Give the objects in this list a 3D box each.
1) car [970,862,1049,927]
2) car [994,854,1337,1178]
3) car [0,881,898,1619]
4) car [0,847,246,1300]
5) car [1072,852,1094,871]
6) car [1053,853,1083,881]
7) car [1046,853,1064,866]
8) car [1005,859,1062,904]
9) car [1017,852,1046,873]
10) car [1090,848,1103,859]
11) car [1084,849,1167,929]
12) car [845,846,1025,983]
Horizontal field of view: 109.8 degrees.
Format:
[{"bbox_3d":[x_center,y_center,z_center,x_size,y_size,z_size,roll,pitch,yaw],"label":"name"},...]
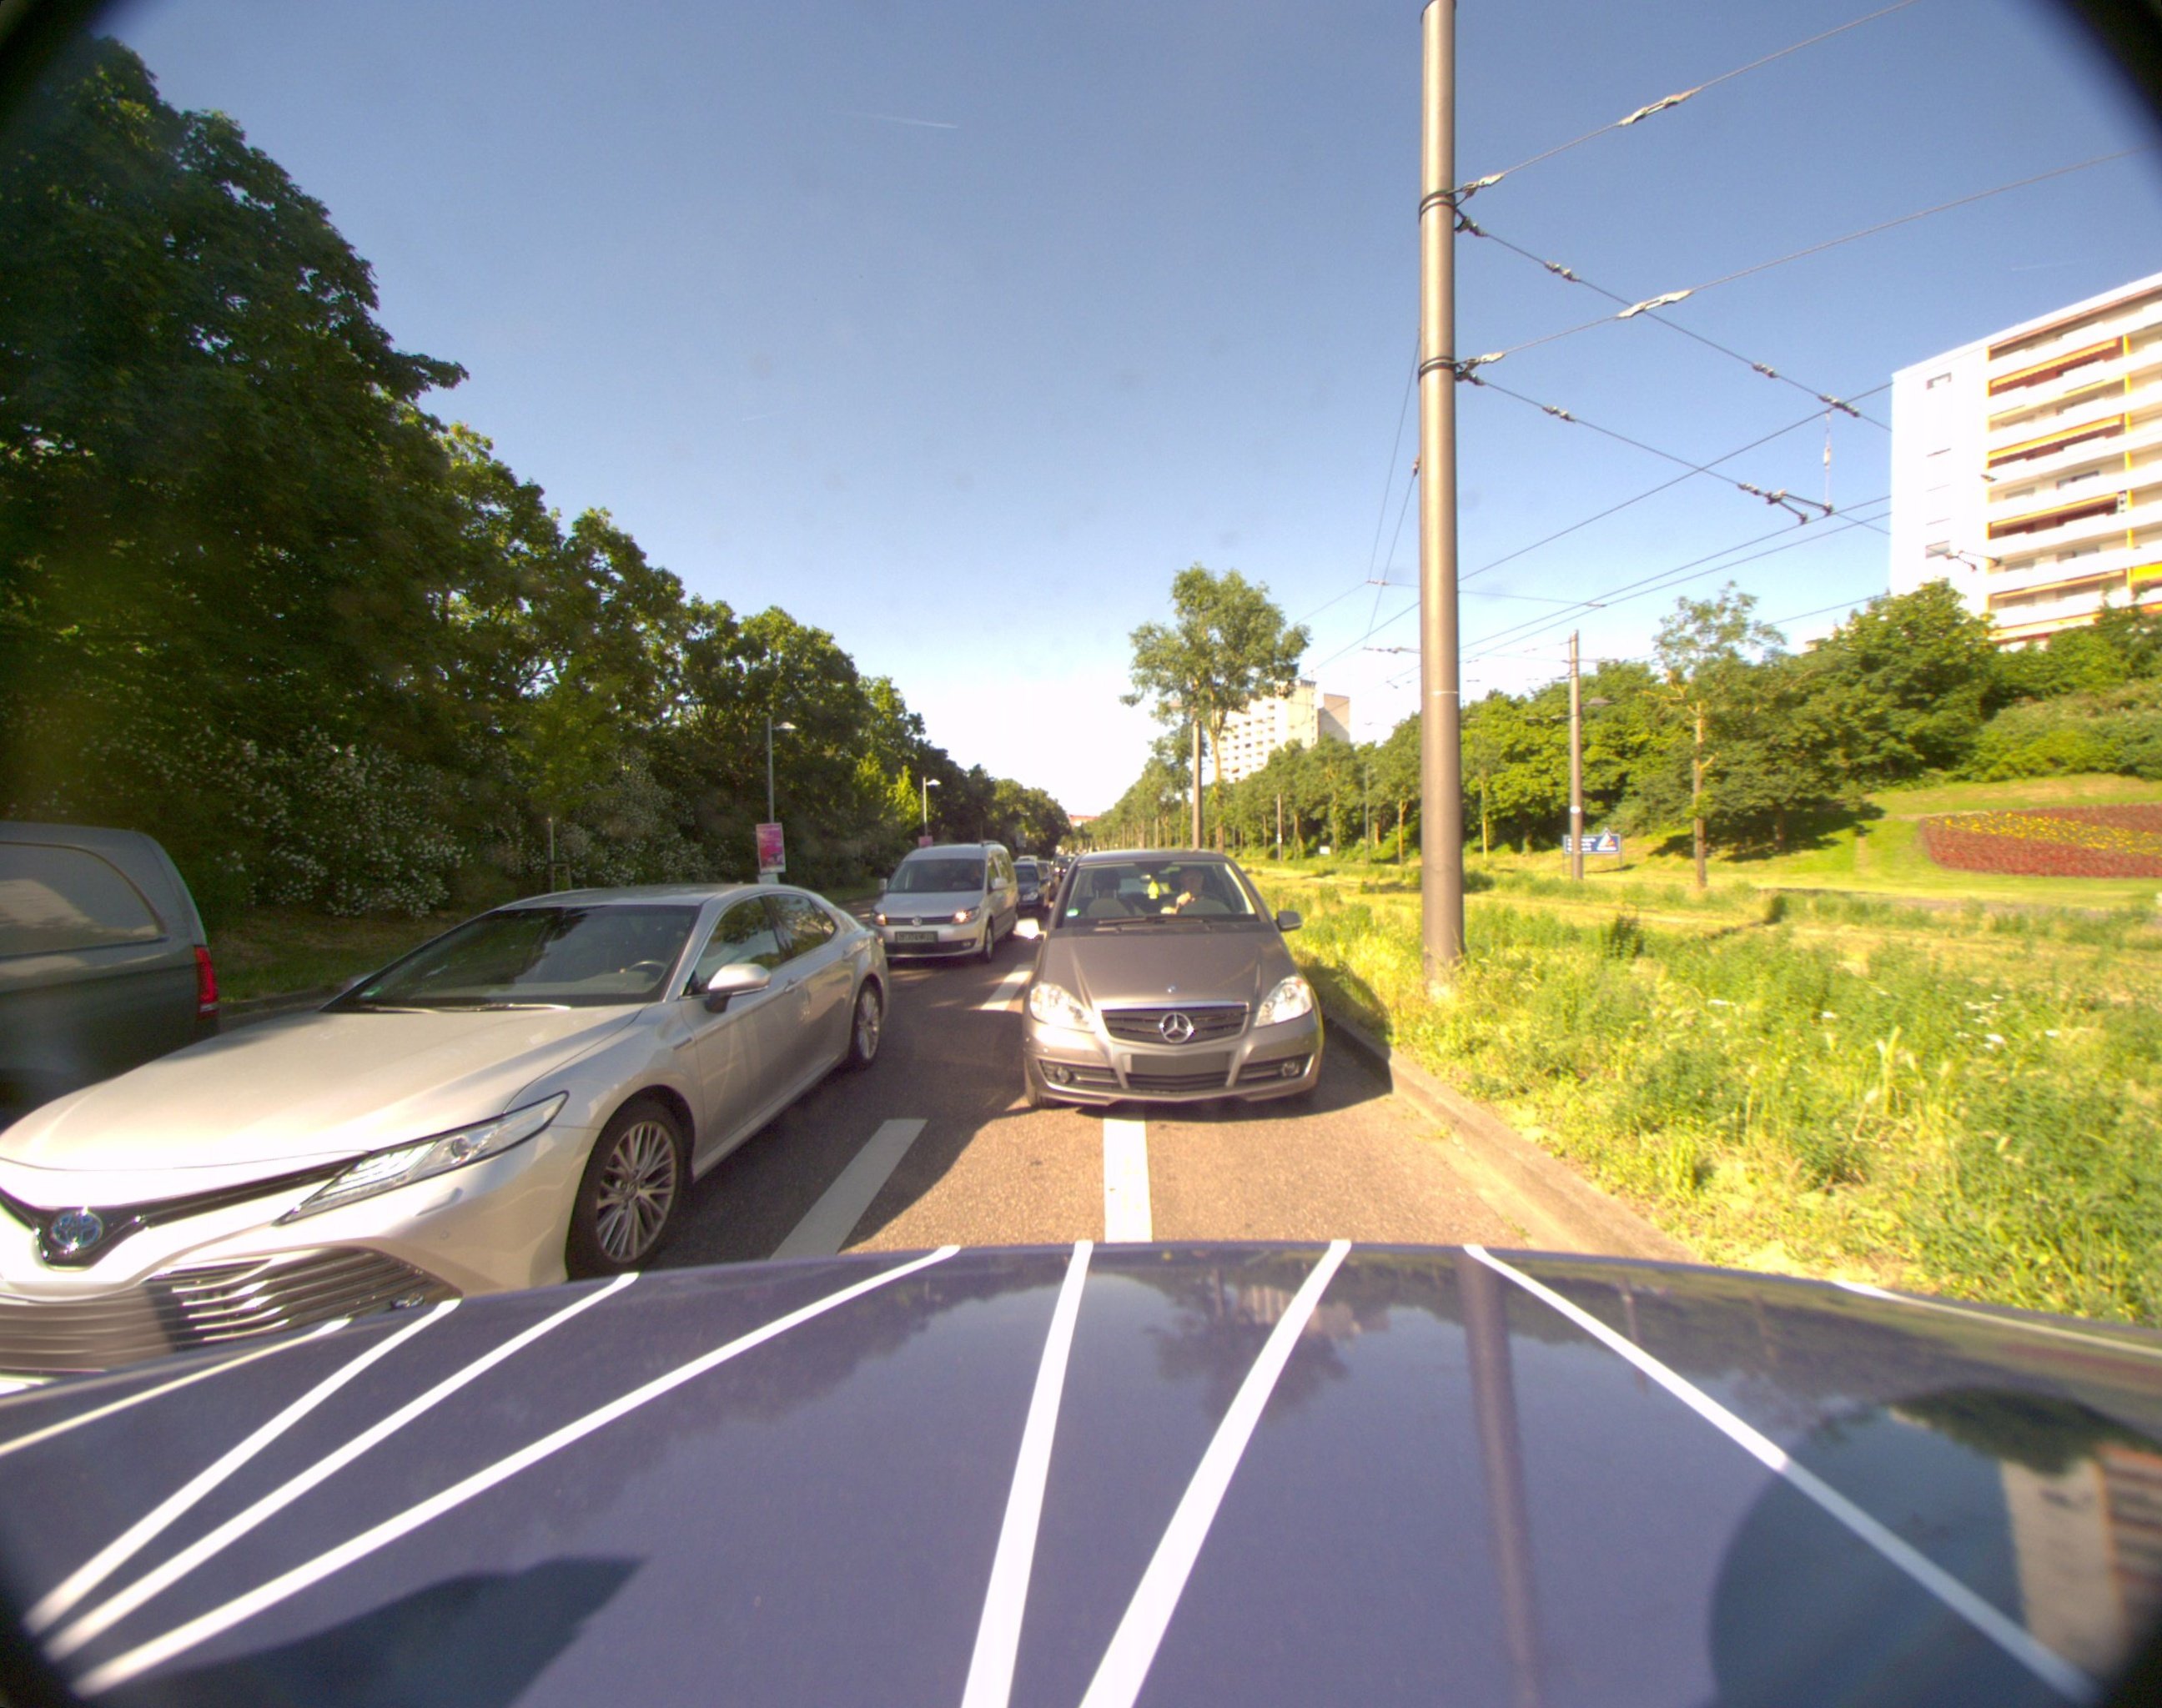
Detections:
[{"bbox_3d":[-1.746,0.968,19.756,1.717,1.445,4.197,-1,0,-1],"label":"car"},{"bbox_3d":[0.472,0.858,6.005,1.749,1.630,4.000,-2,0,1],"label":"car"},{"bbox_3d":[-2.545,1.008,4.073,1.809,1.484,4.682,-2,0,2],"label":"car"},{"bbox_3d":[-5.380,0.907,1.435,1.808,1.841,5.103,0,0,3],"label":"car"},{"bbox_3d":[0.190,0.550,60.840,1.713,1.430,4.171,-2,0,1],"label":"car"},{"bbox_3d":[-0.733,0.729,45.139,1.621,1.485,3.452,-2,1,0],"label":"car"},{"bbox_3d":[-2.890,0.566,85.431,1.713,1.430,4.171,-1,0,1],"label":"car"},{"bbox_3d":[-1.635,0.942,27.343,1.723,1.411,4.050,-1,0,1],"label":"car"},{"bbox_3d":[-3.556,0.614,55.450,1.713,1.430,4.171,-2,0,1],"label":"car"},{"bbox_3d":[2.266,-0.080,108.993,1.685,1.437,3.727,-2,1,2],"label":"car"},{"bbox_3d":[0.990,0.760,18.557,1.749,1.652,3.999,-2,1,1],"label":"car"},{"bbox_3d":[-2.157,0.806,12.616,1.808,1.811,4.587,-2,1,3],"label":"car"}]
